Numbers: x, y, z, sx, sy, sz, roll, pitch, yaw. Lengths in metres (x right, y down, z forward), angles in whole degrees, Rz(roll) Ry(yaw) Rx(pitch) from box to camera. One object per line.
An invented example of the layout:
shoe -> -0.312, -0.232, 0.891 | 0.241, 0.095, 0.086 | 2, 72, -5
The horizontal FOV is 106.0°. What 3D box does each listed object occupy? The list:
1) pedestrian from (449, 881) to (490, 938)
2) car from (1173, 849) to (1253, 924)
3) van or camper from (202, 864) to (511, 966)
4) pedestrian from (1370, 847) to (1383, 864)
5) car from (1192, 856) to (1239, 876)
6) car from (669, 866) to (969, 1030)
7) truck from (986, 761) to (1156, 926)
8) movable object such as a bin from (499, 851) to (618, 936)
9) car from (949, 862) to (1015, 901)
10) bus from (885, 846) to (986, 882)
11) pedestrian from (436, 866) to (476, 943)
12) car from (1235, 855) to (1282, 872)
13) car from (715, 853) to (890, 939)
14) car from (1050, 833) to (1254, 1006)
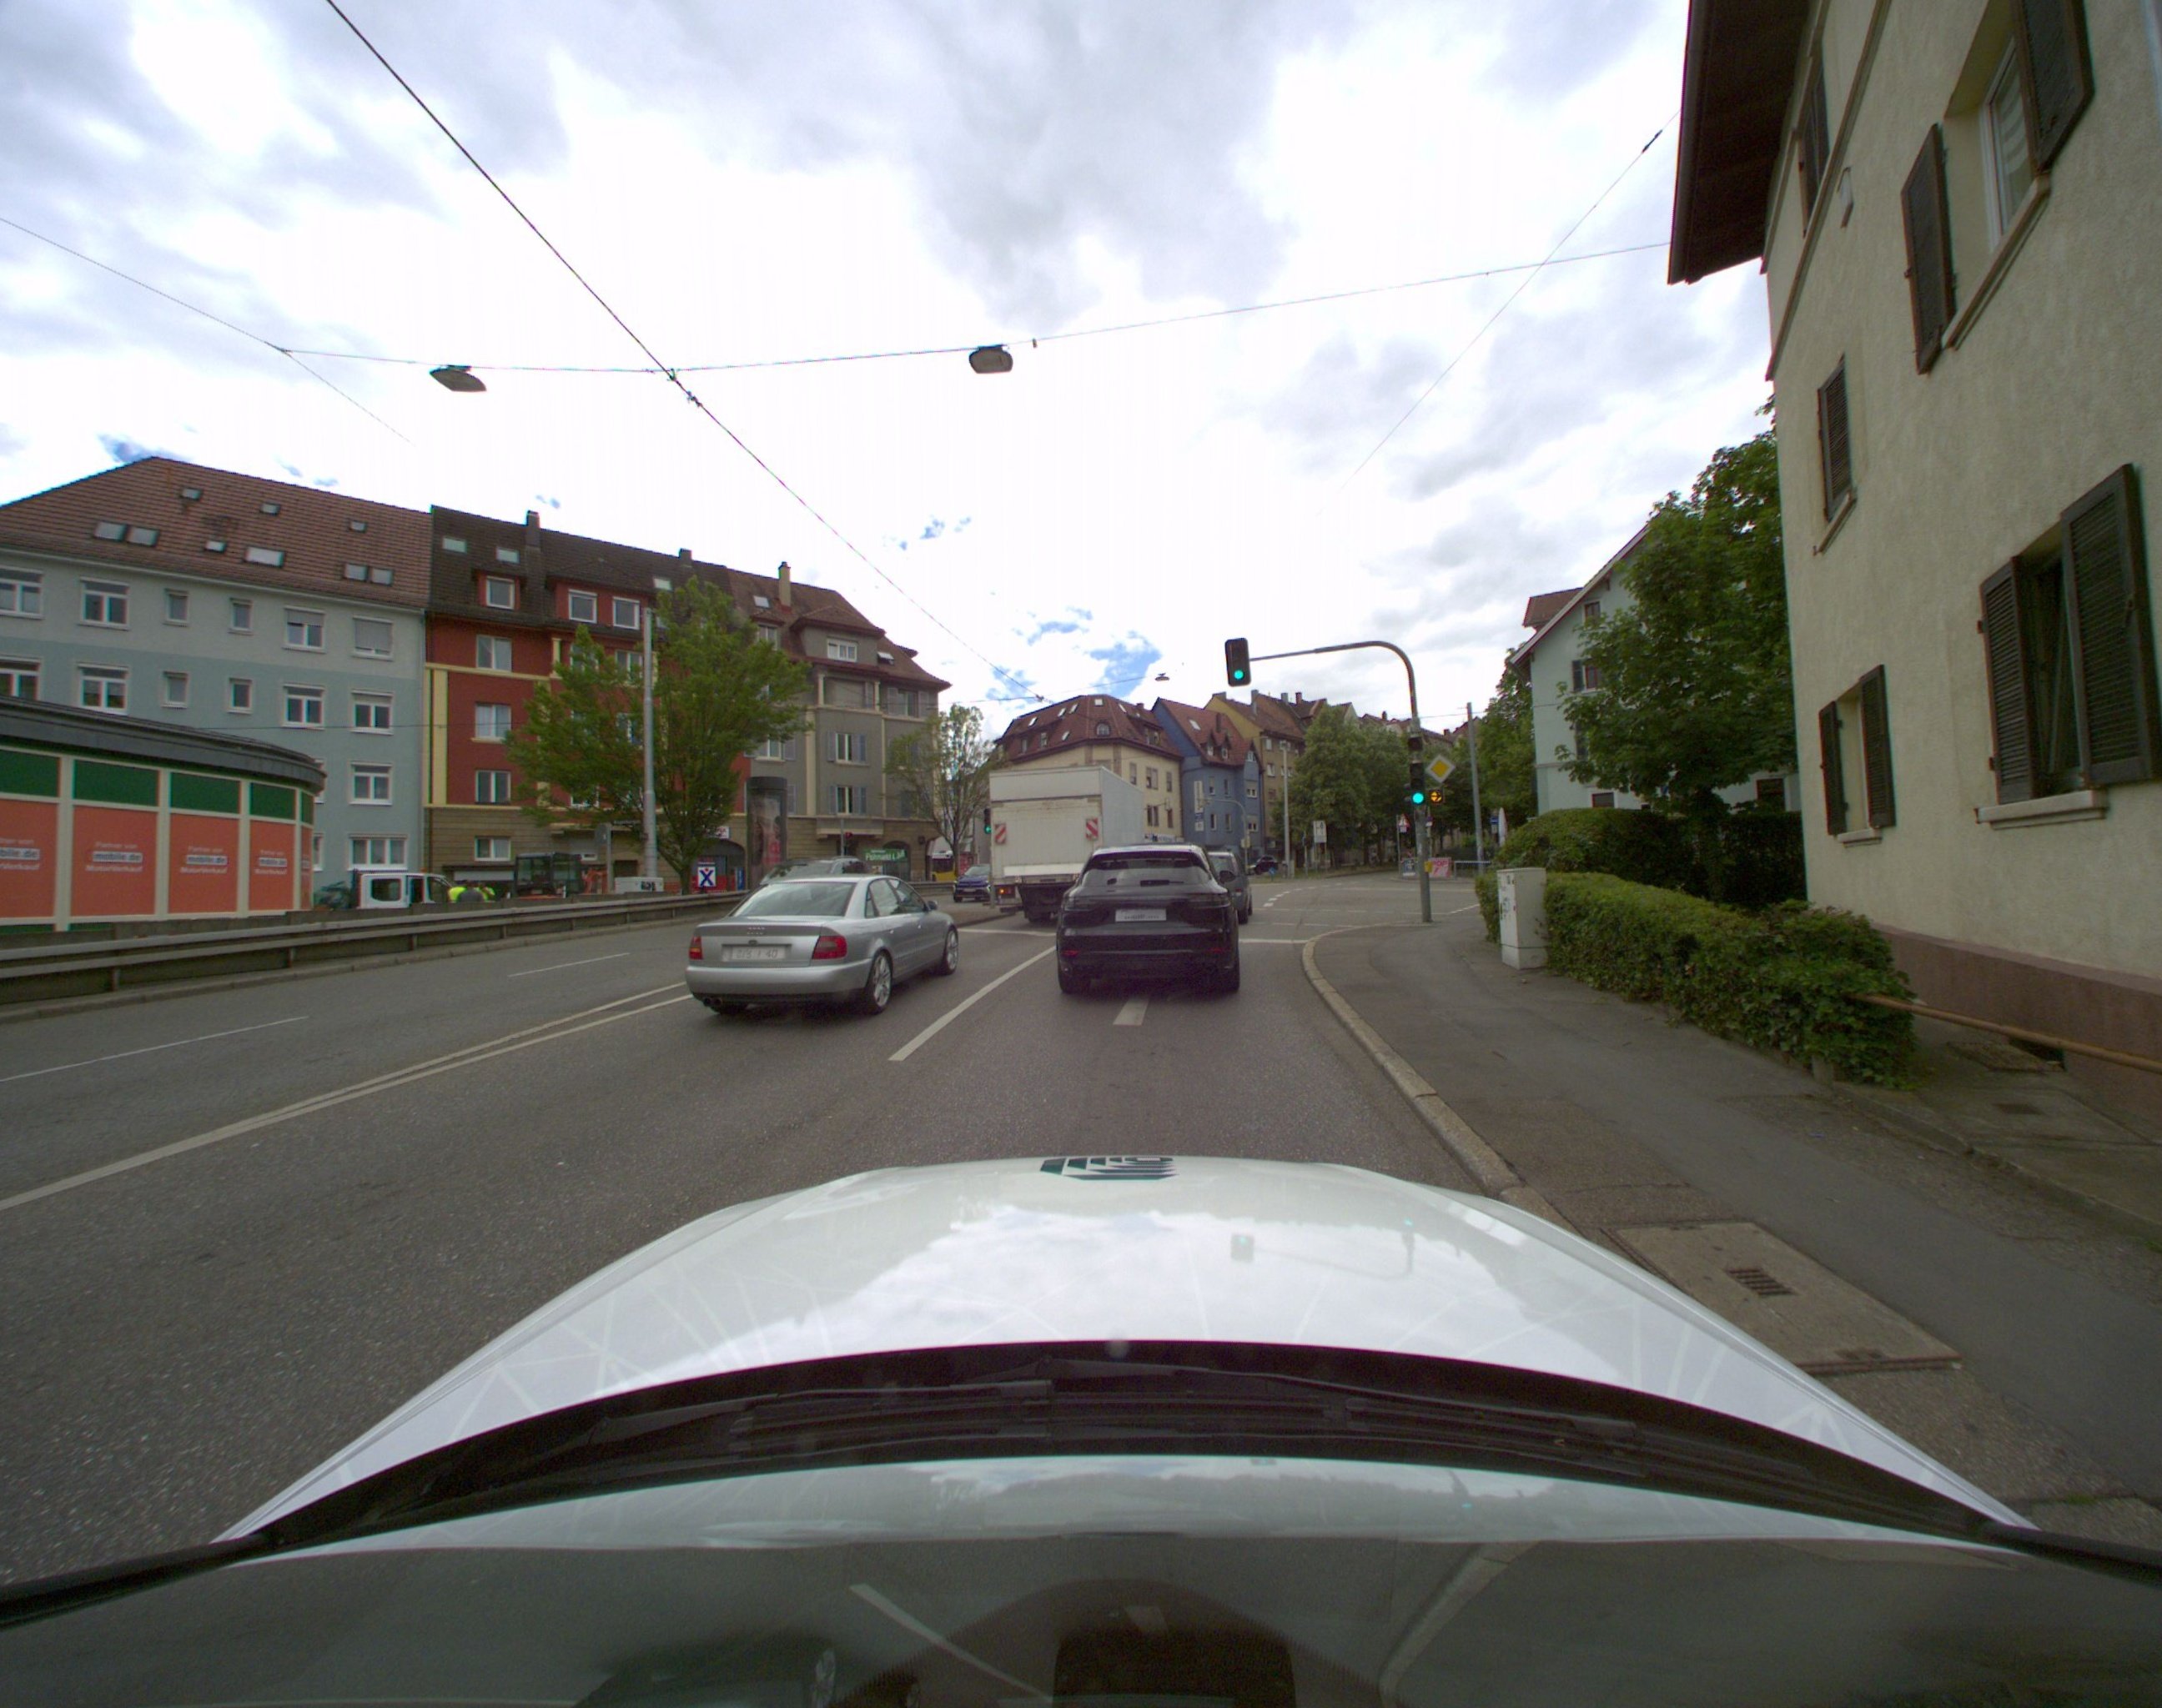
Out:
pedestrian -> -15.233, 1.363, 20.302 | 0.594, 1.363, 0.629 | -3, -1, 34
car -> 3.095, 0.699, 18.743 | 1.638, 1.556, 3.593 | -1, -1, 11
van or camper -> -19.565, 1.539, 22.584 | 6.030, 2.338, 2.660 | -1, -1, -34
pedestrian -> 35.333, 0.192, 97.406 | 1.181, 2.014, 0.995 | -2, -1, 41
car -> 11.081, 0.990, 66.843 | 1.700, 1.476, 4.244 | -4, -2, 43
car -> -2.594, 0.848, 9.187 | 1.620, 1.365, 4.136 | 0, 0, 7
truck -> 0.129, -0.200, 21.834 | 2.707, 3.544, 8.449 | 0, 0, 12
movable object such as a bin -> -13.703, 0.982, 21.585 | 1.375, 2.013, 3.523 | -2, 0, -11
car -> -4.124, 1.122, 34.588 | 1.777, 1.531, 4.045 | -2, 0, 8
bus -> -13.450, 0.968, 74.119 | 3.185, 3.096, 12.004 | 0, -1, -42
pedestrian -> -16.927, 1.351, 22.065 | 0.830, 2.014, 0.672 | -1, -1, -38
car -> 15.691, 0.809, 71.926 | 1.852, 1.416, 4.727 | -4, -3, 42
car -> -6.233, 0.877, 18.945 | 1.893, 1.714, 4.729 | -1, -1, 8
car -> 0.819, 0.651, 10.400 | 2.023, 1.723, 4.503 | -1, 0, 3
